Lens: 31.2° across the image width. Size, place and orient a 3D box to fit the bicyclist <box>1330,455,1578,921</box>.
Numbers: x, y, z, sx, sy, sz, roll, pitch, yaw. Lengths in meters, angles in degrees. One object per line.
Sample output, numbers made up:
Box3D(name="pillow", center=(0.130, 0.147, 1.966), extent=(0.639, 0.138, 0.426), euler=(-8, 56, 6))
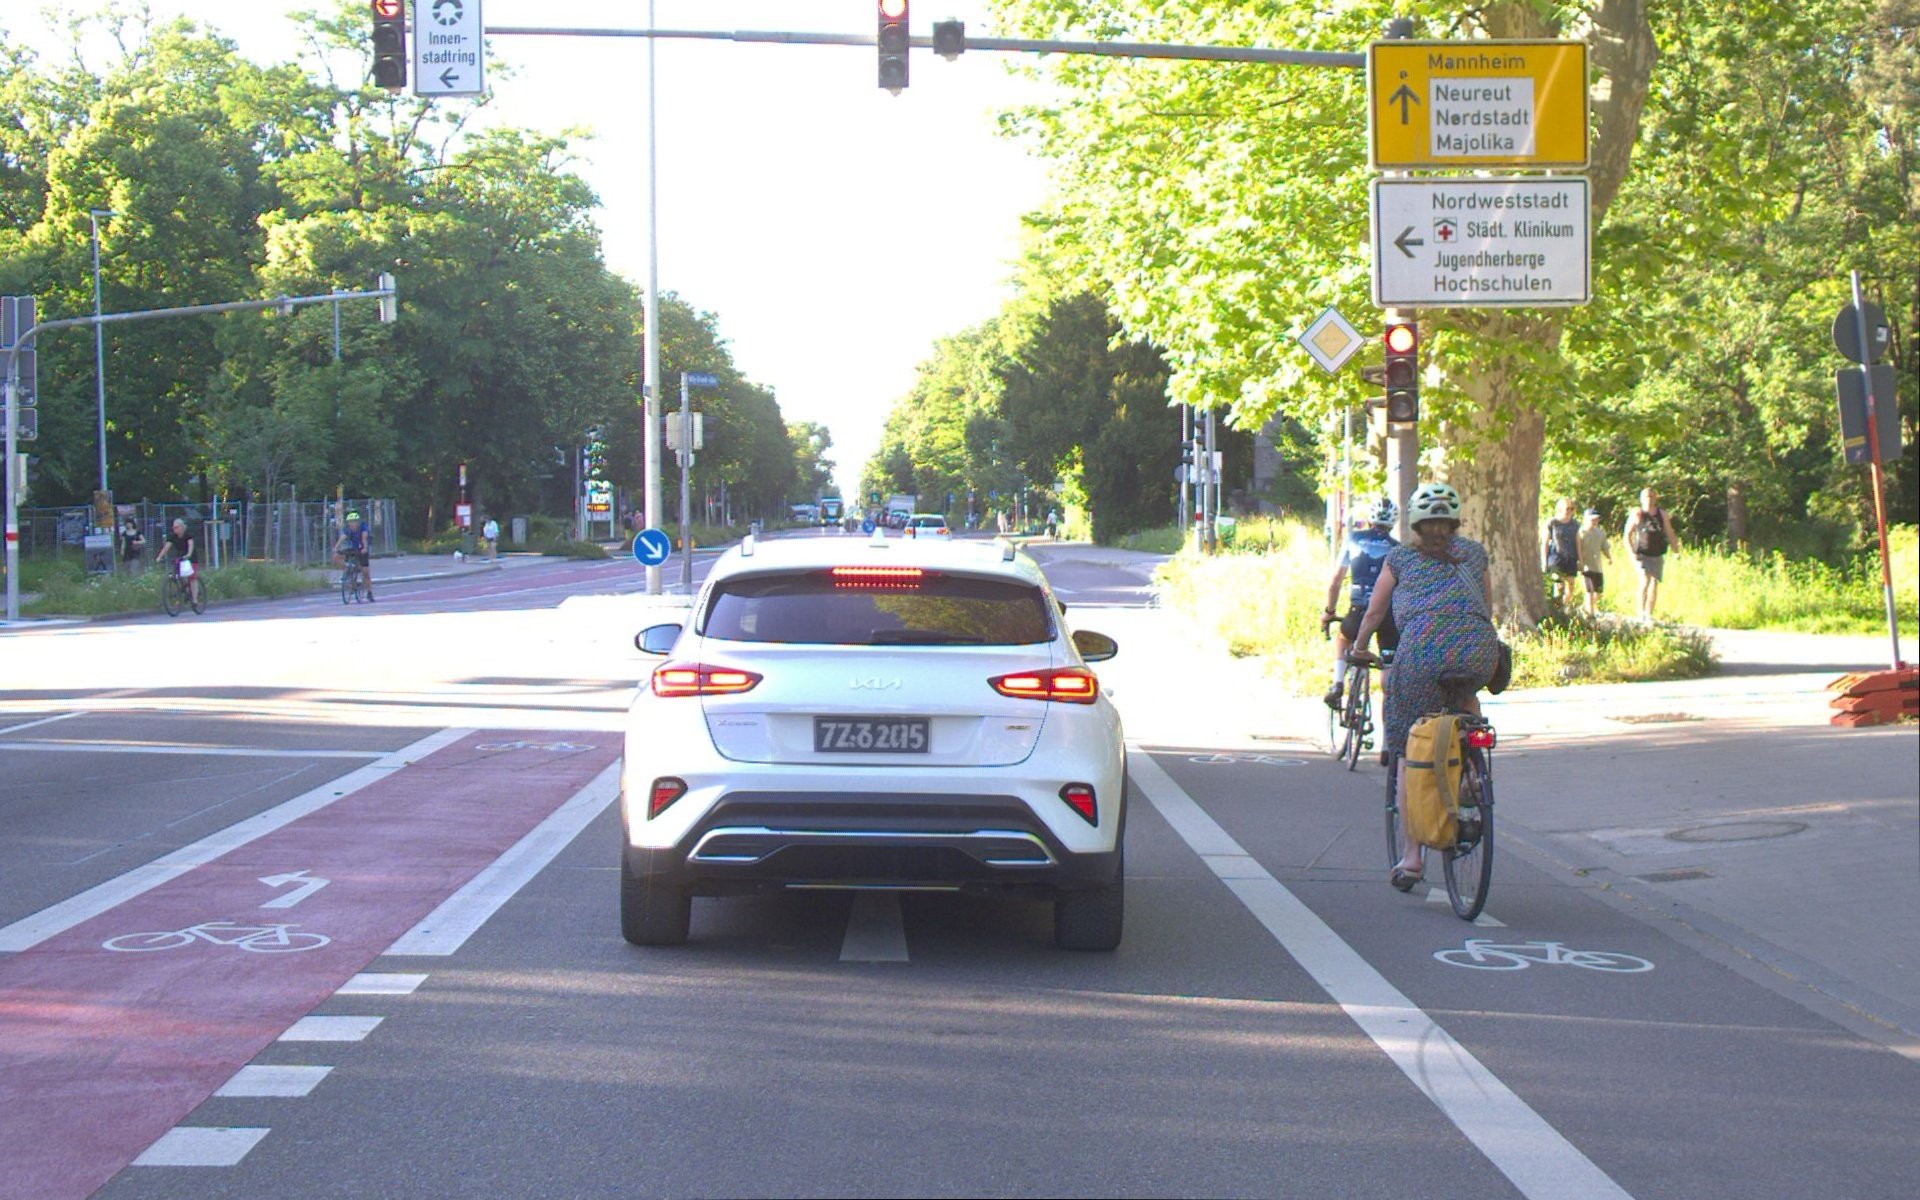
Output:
Box3D(name="bicyclist", center=(1.974, 0.327, 13.896), extent=(0.753, 1.789, 1.165), euler=(2, 1, -2))

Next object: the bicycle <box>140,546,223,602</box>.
Box3D(name="bicycle", center=(-14.455, -0.495, 63.901), extent=(0.579, 0.985, 2.714), euler=(-1, 2, 8))

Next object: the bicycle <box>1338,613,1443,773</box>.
Box3D(name="bicycle", center=(2.797, 0.586, 22.412), extent=(0.401, 0.953, 1.551), euler=(-3, 1, -1))

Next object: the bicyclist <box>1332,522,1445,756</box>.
Box3D(name="bicyclist", center=(2.783, 0.244, 22.363), extent=(0.554, 1.473, 0.717), euler=(-3, 1, -1))

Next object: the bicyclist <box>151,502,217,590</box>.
Box3D(name="bicyclist", center=(-14.444, -1.015, 64.022), extent=(0.875, 1.601, 0.977), euler=(-1, 1, 8))

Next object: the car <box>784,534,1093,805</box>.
Box3D(name="car", center=(-0.175, 0.361, 21.224), extent=(1.728, 1.478, 3.517), euler=(-1, 1, -2))

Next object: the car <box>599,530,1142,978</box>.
Box3D(name="car", center=(-0.352, 0.481, 13.533), extent=(1.821, 1.475, 3.937), euler=(0, 2, -2))

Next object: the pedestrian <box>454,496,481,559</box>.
Box3D(name="pedestrian", center=(-15.911, -2.333, 111.019), extent=(0.641, 2.007, 0.753), euler=(1, 1, 10))

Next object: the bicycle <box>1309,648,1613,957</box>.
Box3D(name="bicycle", center=(1.964, 0.760, 13.873), extent=(0.758, 1.009, 2.570), euler=(2, 2, -2))

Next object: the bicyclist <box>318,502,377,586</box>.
Box3D(name="bicyclist", center=(-11.886, -1.101, 66.761), extent=(0.875, 1.603, 1.188), euler=(-1, 1, 2))

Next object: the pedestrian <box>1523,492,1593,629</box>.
Box3D(name="pedestrian", center=(7.509, -0.503, 43.163), extent=(0.689, 1.693, 0.644), euler=(-1, 1, -6))

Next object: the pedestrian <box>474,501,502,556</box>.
Box3D(name="pedestrian", center=(-15.311, -2.319, 111.470), extent=(0.785, 1.779, 0.751), euler=(1, 1, 1))

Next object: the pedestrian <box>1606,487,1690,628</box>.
Box3D(name="pedestrian", center=(8.762, -0.550, 43.801), extent=(0.817, 1.765, 0.832), euler=(-1, 1, -7))

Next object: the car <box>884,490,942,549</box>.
Box3D(name="car", center=(-1.650, -2.876, 122.129), extent=(1.993, 2.006, 4.000), euler=(-1, 2, 0))

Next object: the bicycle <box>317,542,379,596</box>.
Box3D(name="bicycle", center=(-11.878, -0.613, 66.788), extent=(0.663, 0.985, 2.504), euler=(-1, 2, 2))

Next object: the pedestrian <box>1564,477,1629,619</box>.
Box3D(name="pedestrian", center=(8.046, -0.663, 43.478), extent=(0.615, 1.765, 0.647), euler=(-1, 1, -7))
